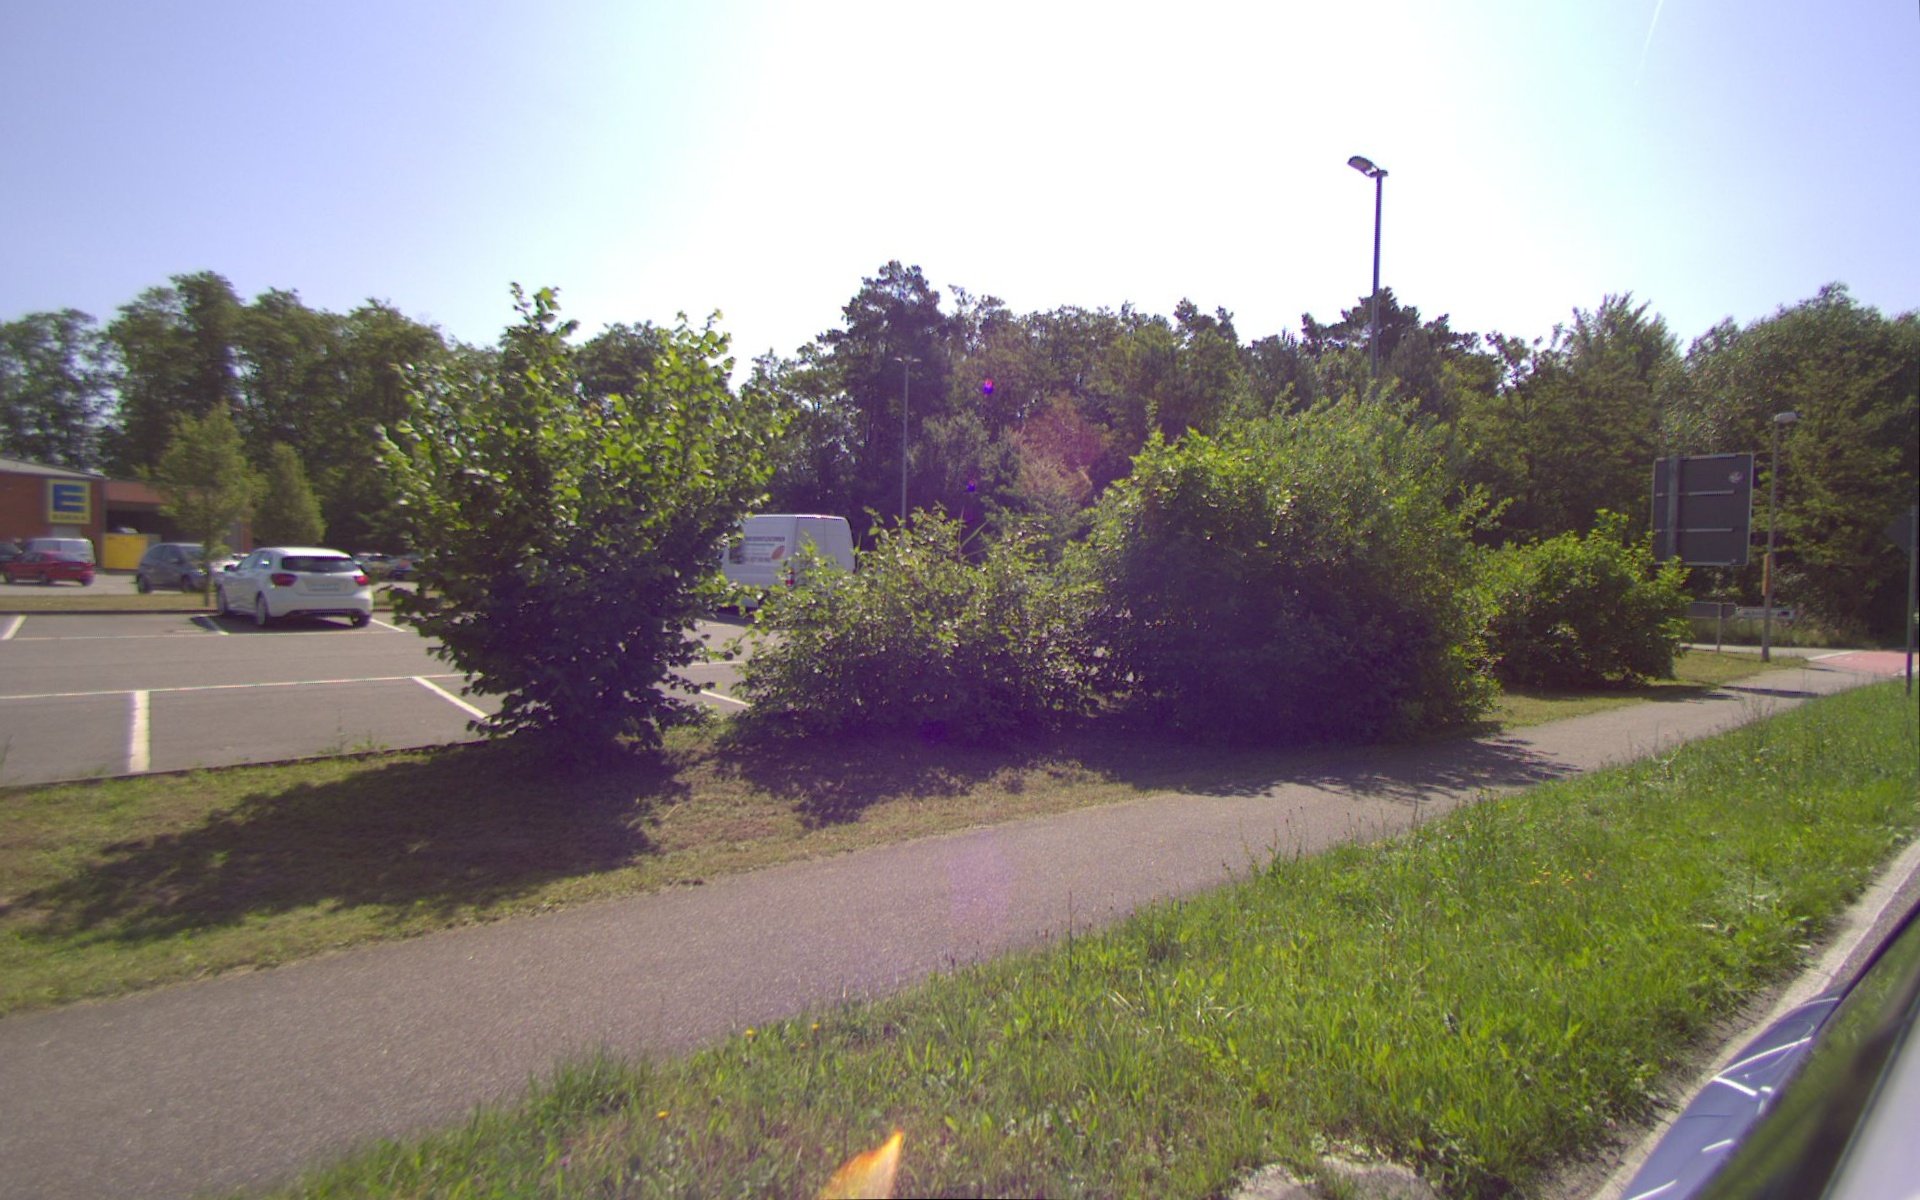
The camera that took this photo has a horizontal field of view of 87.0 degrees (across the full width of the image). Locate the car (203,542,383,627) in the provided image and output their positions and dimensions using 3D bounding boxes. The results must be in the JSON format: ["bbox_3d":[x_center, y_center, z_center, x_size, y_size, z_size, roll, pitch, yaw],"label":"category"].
[{"bbox_3d":[-12.931,-0.350,19.540,3.958,1.471,1.877,3,2,40],"label":"car"}]

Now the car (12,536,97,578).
[{"bbox_3d":[-46.684,-2.202,52.184,3.961,2.039,1.981,2,1,27],"label":"car"}]

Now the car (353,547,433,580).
[{"bbox_3d":[-34.910,-2.235,62.404,1.922,1.888,3.968,2,2,24],"label":"car"}]

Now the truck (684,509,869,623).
[{"bbox_3d":[-4.911,-0.920,26.321,2.164,2.637,5.611,0,2,-41],"label":"truck"}]

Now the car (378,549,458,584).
[{"bbox_3d":[-32.818,-2.033,61.409,1.922,1.998,3.968,2,2,24],"label":"car"}]

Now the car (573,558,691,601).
[{"bbox_3d":[-12.441,-0.792,38.668,1.975,1.483,4.467,2,2,19],"label":"car"}]

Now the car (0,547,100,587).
[{"bbox_3d":[-39.007,-1.425,43.297,3.953,1.537,1.788,3,2,22],"label":"car"}]

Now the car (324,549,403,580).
[{"bbox_3d":[-37.495,-2.230,63.719,1.922,1.822,3.968,2,2,24],"label":"car"}]

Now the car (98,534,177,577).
[{"bbox_3d":[-45.532,-2.476,56.021,3.985,2.275,1.981,2,1,27],"label":"car"}]

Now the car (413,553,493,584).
[{"bbox_3d":[-30.071,-1.841,60.120,1.922,1.732,3.968,2,2,24],"label":"car"}]

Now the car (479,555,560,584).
[{"bbox_3d":[-25.363,-1.741,58.402,1.775,1.615,4.229,2,2,22],"label":"car"}]

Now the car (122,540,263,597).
[{"bbox_3d":[-23.235,-0.962,30.621,3.964,1.604,1.951,2,2,28],"label":"car"}]

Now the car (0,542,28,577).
[{"bbox_3d":[-47.617,-2.002,49.503,3.735,1.660,1.767,3,2,26],"label":"car"}]

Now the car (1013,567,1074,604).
[{"bbox_3d":[3.823,-0.687,45.787,1.740,1.549,3.638,2,2,22],"label":"car"}]
